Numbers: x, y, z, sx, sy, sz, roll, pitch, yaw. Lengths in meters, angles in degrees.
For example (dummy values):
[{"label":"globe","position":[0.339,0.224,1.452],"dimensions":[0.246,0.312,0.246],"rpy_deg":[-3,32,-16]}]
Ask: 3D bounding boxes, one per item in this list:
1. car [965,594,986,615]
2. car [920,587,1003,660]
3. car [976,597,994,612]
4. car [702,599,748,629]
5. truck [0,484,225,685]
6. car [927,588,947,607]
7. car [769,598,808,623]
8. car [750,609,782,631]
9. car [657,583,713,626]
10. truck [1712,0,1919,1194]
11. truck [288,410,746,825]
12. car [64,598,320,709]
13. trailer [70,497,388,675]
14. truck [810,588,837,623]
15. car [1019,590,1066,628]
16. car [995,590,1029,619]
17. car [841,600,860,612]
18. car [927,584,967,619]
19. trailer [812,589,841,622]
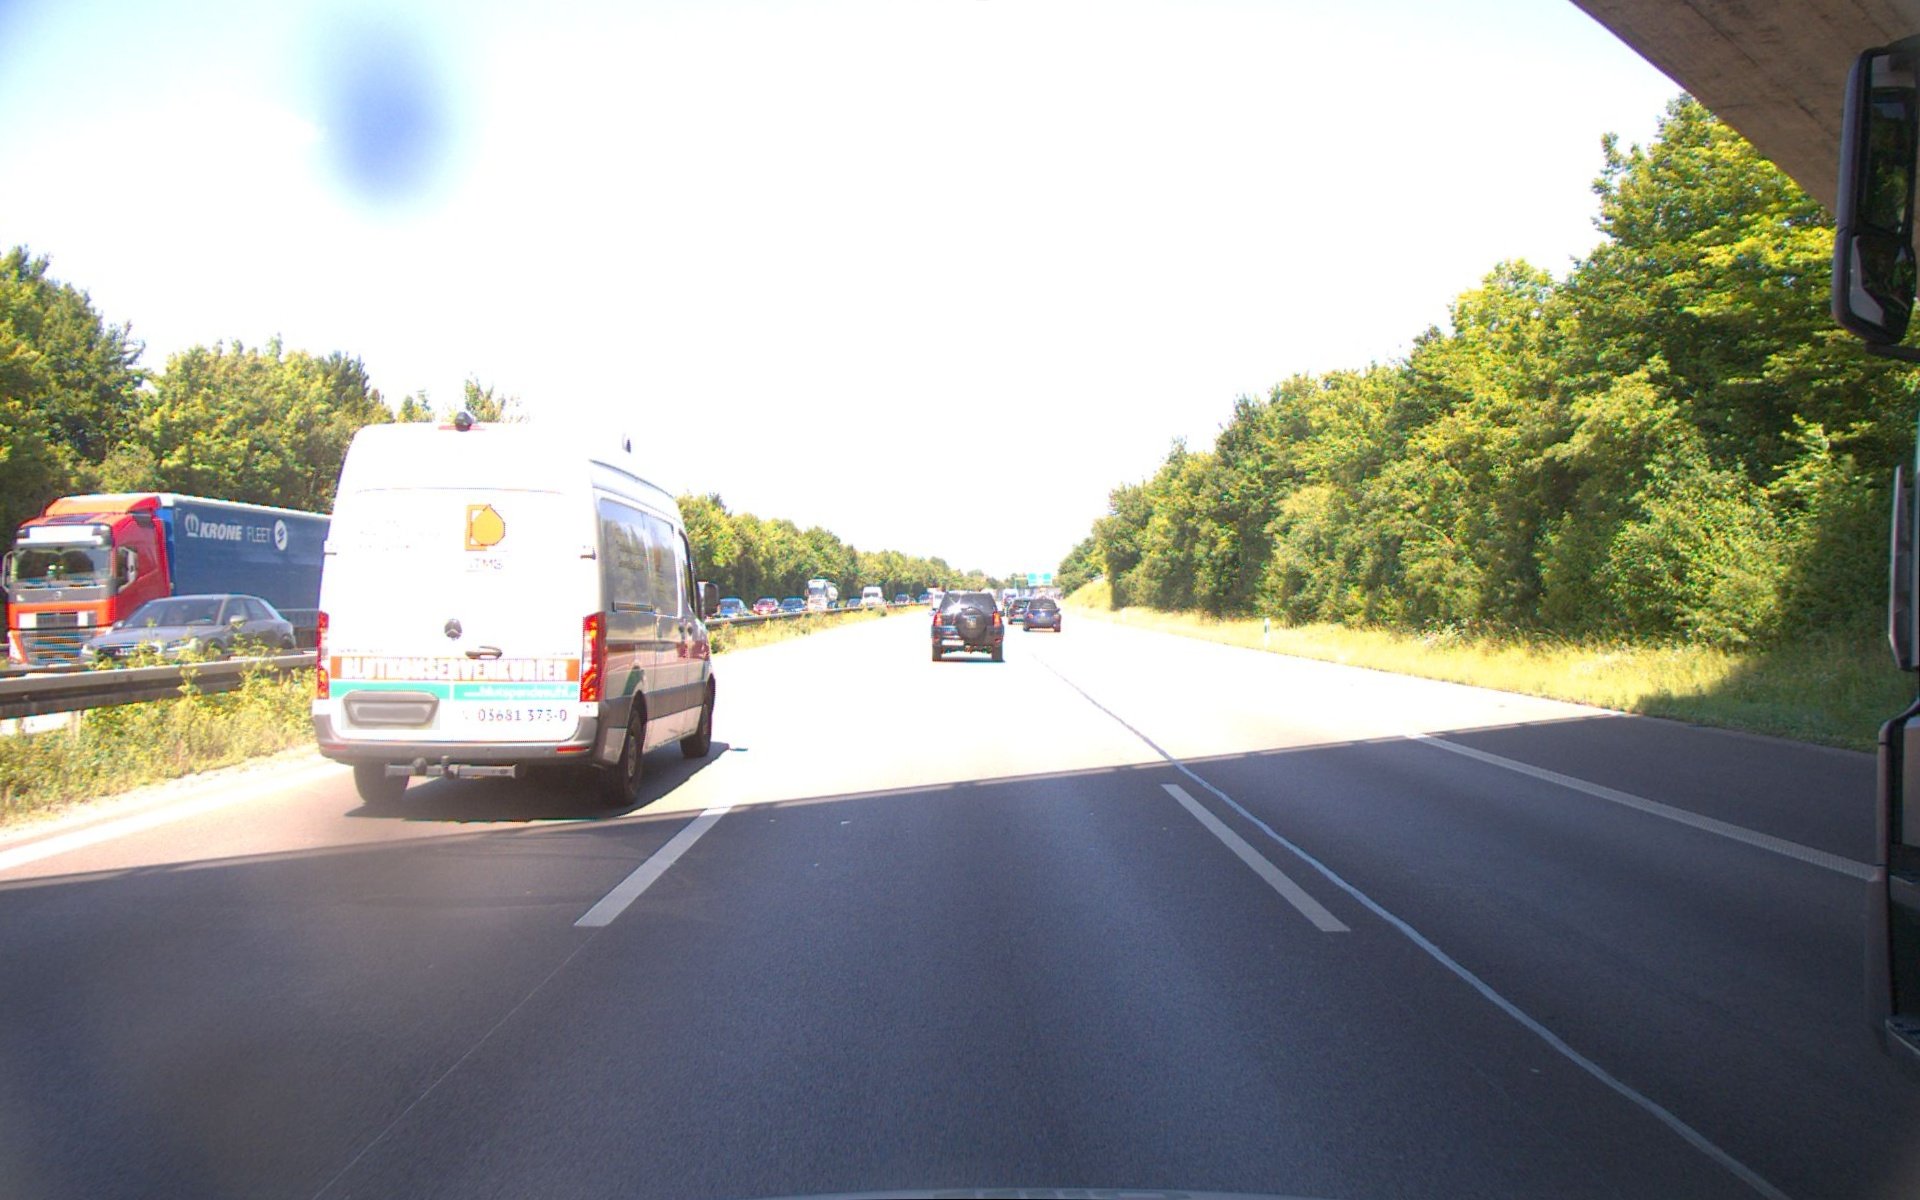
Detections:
[{"label":"car","position":[1.554,0.413,168.421],"dimensions":[1.953,2.049,4.766],"rpy_deg":[-1,0,-1]},{"label":"car","position":[-0.005,0.573,40.562],"dimensions":[1.868,1.694,3.998],"rpy_deg":[0,-1,-2]},{"label":"car","position":[2.994,0.512,201.837],"dimensions":[1.953,1.780,4.203],"rpy_deg":[-1,0,-2]},{"label":"car","position":[-11.578,0.672,81.690],"dimensions":[1.690,1.399,4.544],"rpy_deg":[-1,0,-1]},{"label":"truck","position":[-19.630,-0.325,37.852],"dimensions":[2.728,4.131,6.209],"rpy_deg":[-2,0,0]},{"label":"car","position":[-2.470,-0.254,180.157],"dimensions":[1.952,2.049,4.951],"rpy_deg":[-1,0,2]},{"label":"car","position":[-11.452,0.669,110.702],"dimensions":[1.952,1.636,4.649],"rpy_deg":[-1,0,1]},{"label":"car","position":[-14.866,1.561,126.902],"dimensions":[1.824,1.658,4.321],"rpy_deg":[0,-1,2]},{"label":"car","position":[-14.879,0.289,89.924],"dimensions":[1.953,2.274,6.516],"rpy_deg":[0,-1,0]},{"label":"truck","position":[3.684,-0.244,1.942],"dimensions":[2.584,3.434,6.486],"rpy_deg":[1,0,-1]},{"label":"truck","position":[-3.241,0.100,13.827],"dimensions":[1.953,2.587,6.692],"rpy_deg":[1,0,0]},{"label":"car","position":[-11.527,0.733,25.189],"dimensions":[1.843,1.509,4.434],"rpy_deg":[-1,0,0]},{"label":"trailer","position":[-19.657,-0.351,45.966],"dimensions":[2.728,4.111,13.546],"rpy_deg":[-2,0,0]},{"label":"truck","position":[-16.462,0.655,200.000],"dimensions":[2.676,3.950,6.321],"rpy_deg":[-3,0,-1]},{"label":"car","position":[3.845,0.445,77.483],"dimensions":[1.953,1.713,3.999],"rpy_deg":[0,-1,-1]},{"label":"car","position":[3.073,0.291,97.746],"dimensions":[1.805,1.640,3.999],"rpy_deg":[0,-1,-1]},{"label":"car","position":[-13.362,0.760,201.770],"dimensions":[1.867,1.440,4.891],"rpy_deg":[-1,0,0]},{"label":"car","position":[-0.654,0.075,85.376],"dimensions":[1.953,1.736,4.335],"rpy_deg":[-1,0,0]},{"label":"trailer","position":[-16.563,0.687,205.582],"dimensions":[2.710,3.950,9.456],"rpy_deg":[-3,0,0]}]
